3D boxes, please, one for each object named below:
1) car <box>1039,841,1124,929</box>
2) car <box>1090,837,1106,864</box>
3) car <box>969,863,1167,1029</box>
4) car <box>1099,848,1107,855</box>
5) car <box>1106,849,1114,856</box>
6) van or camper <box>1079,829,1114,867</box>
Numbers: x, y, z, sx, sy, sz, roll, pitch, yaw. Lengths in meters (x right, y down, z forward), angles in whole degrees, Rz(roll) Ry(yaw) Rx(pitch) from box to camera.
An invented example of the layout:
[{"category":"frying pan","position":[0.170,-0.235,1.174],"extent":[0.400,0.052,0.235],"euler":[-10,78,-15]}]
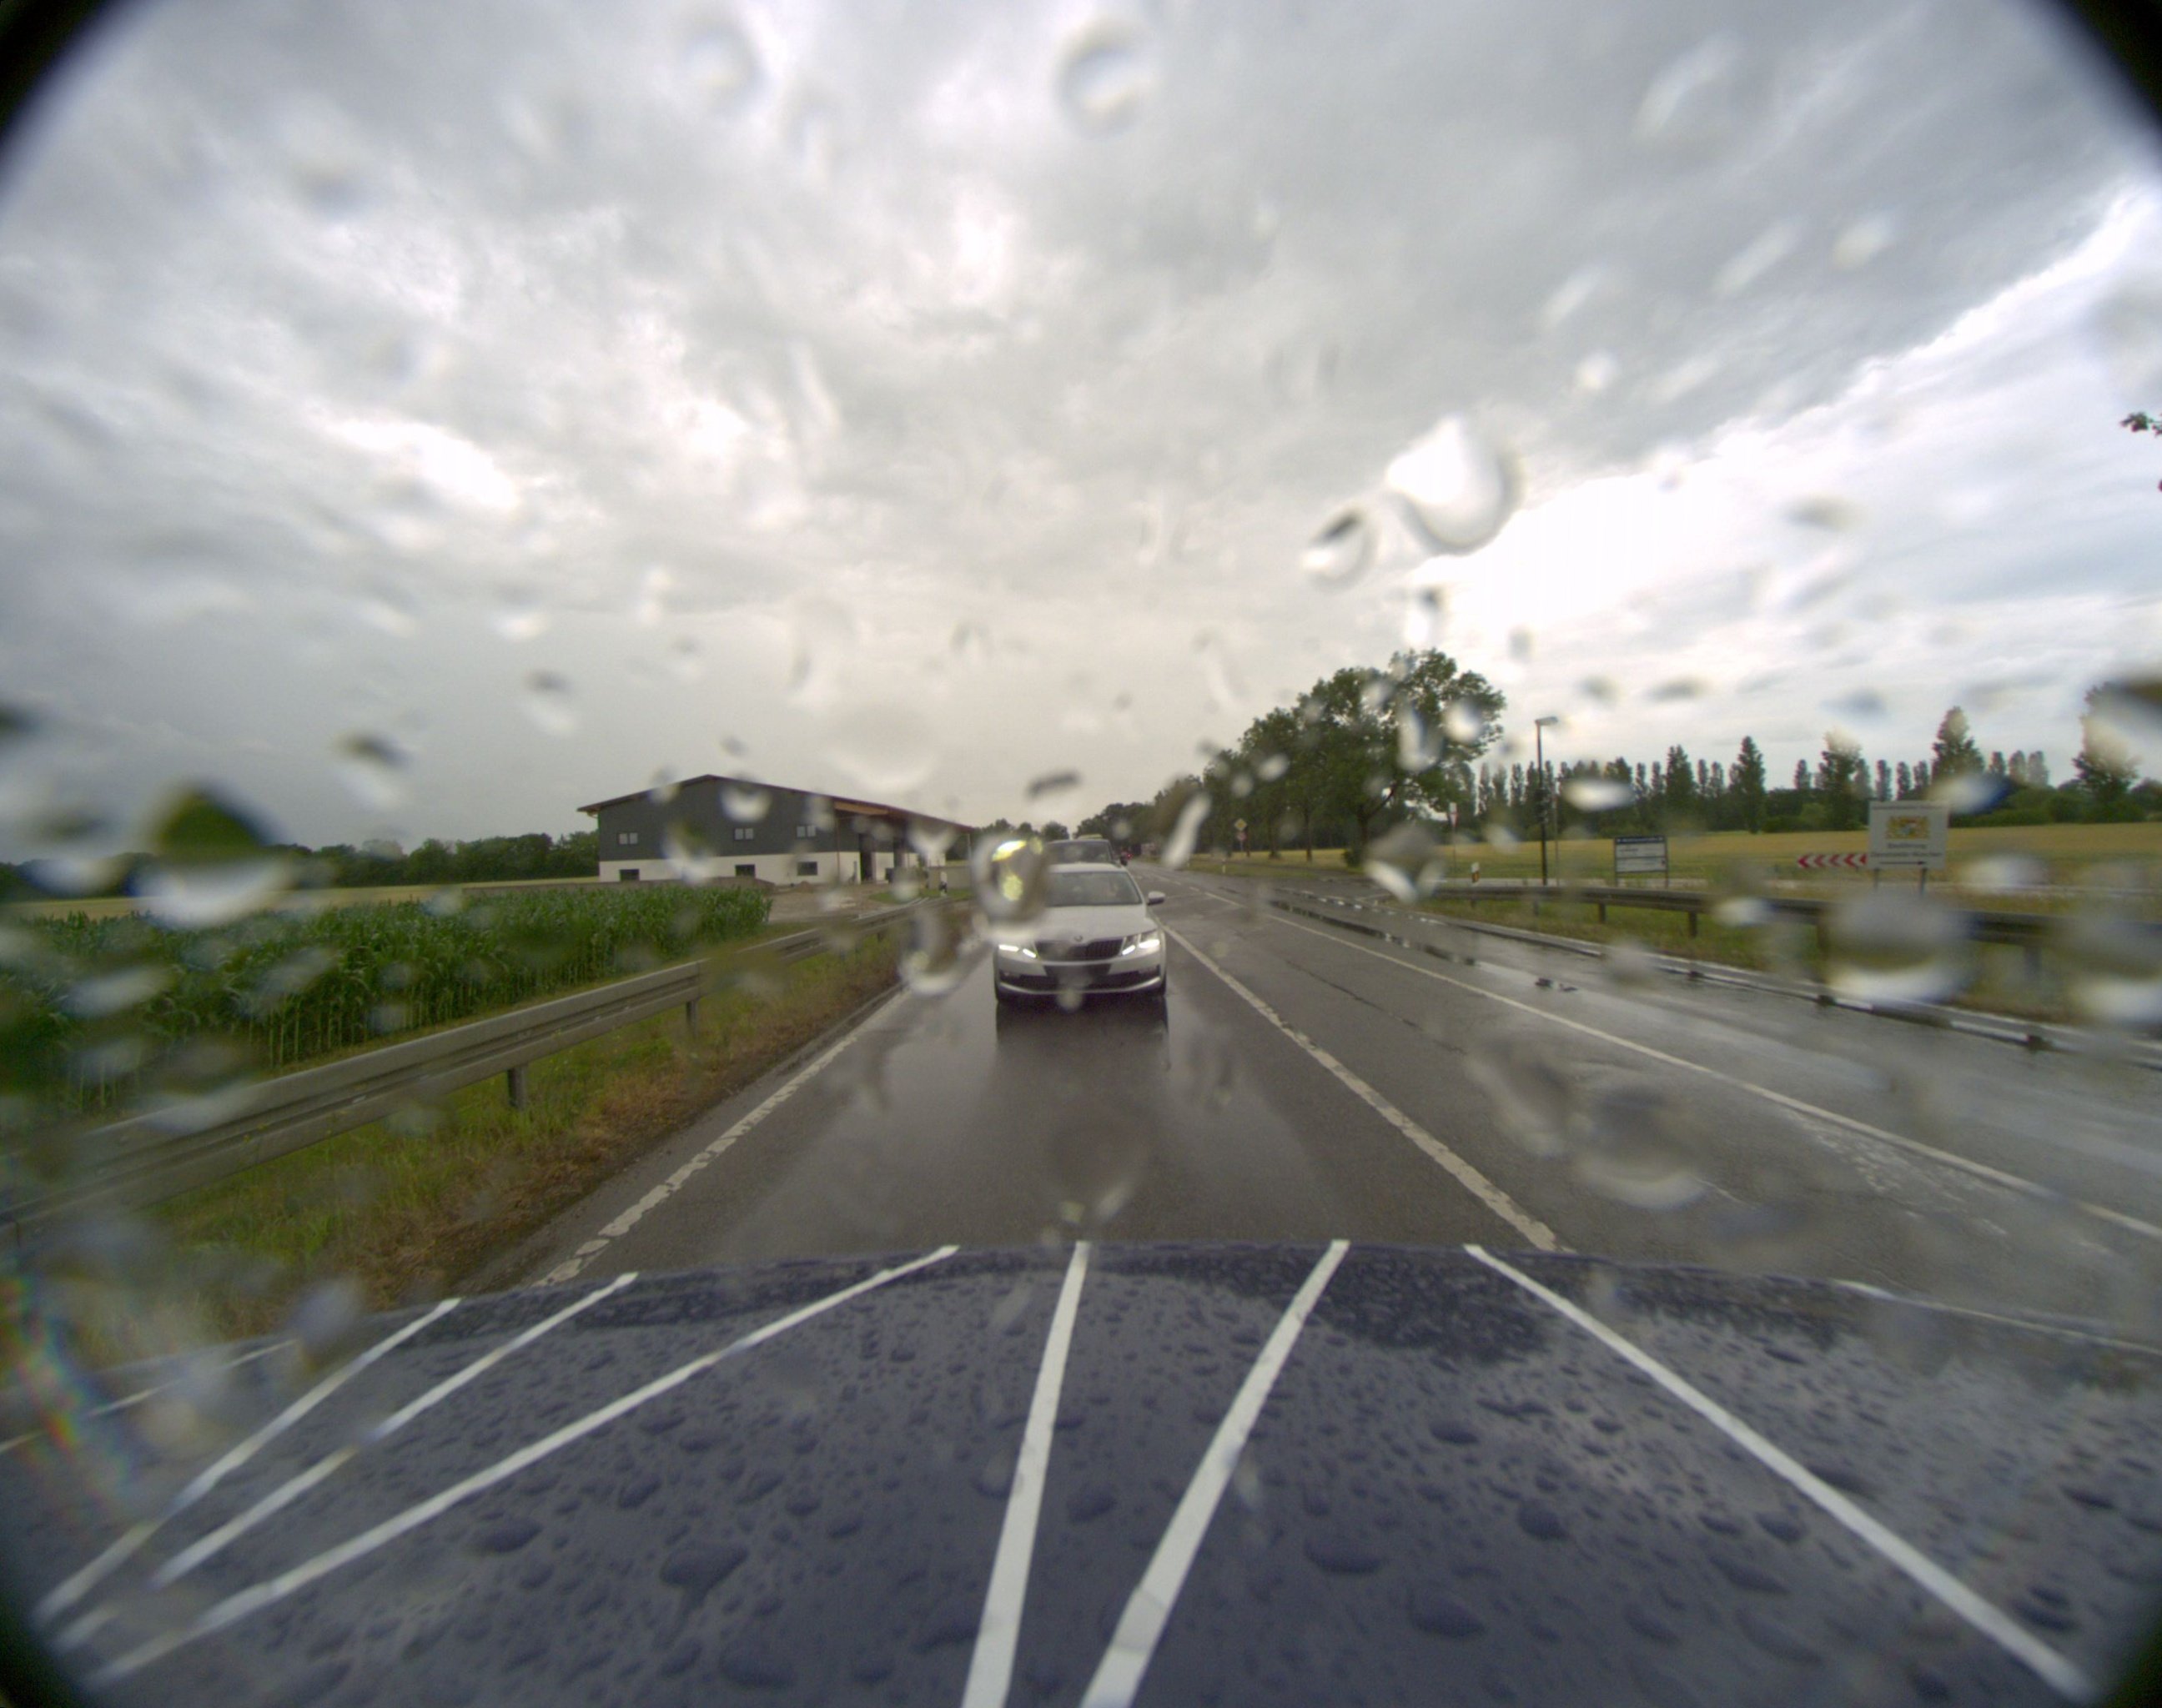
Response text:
[{"category":"car","position":[0.066,0.678,19.276],"extent":[1.841,1.888,4.575],"euler":[-2,1,1]},{"category":"car","position":[1.980,-0.439,91.210],"extent":[1.771,3.134,4.027],"euler":[-3,0,1]},{"category":"car","position":[-0.063,0.883,9.279],"extent":[1.770,1.365,4.575],"euler":[-2,0,1]},{"category":"car","position":[6.025,-0.695,205.387],"extent":[1.949,1.571,4.443],"euler":[-2,0,1]},{"category":"car","position":[6.989,-0.358,181.704],"extent":[1.773,1.514,4.141],"euler":[-1,0,1]},{"category":"van or camper","position":[1.647,-0.669,79.360],"extent":[3.342,3.624,8.373],"euler":[-2,1,1]}]
